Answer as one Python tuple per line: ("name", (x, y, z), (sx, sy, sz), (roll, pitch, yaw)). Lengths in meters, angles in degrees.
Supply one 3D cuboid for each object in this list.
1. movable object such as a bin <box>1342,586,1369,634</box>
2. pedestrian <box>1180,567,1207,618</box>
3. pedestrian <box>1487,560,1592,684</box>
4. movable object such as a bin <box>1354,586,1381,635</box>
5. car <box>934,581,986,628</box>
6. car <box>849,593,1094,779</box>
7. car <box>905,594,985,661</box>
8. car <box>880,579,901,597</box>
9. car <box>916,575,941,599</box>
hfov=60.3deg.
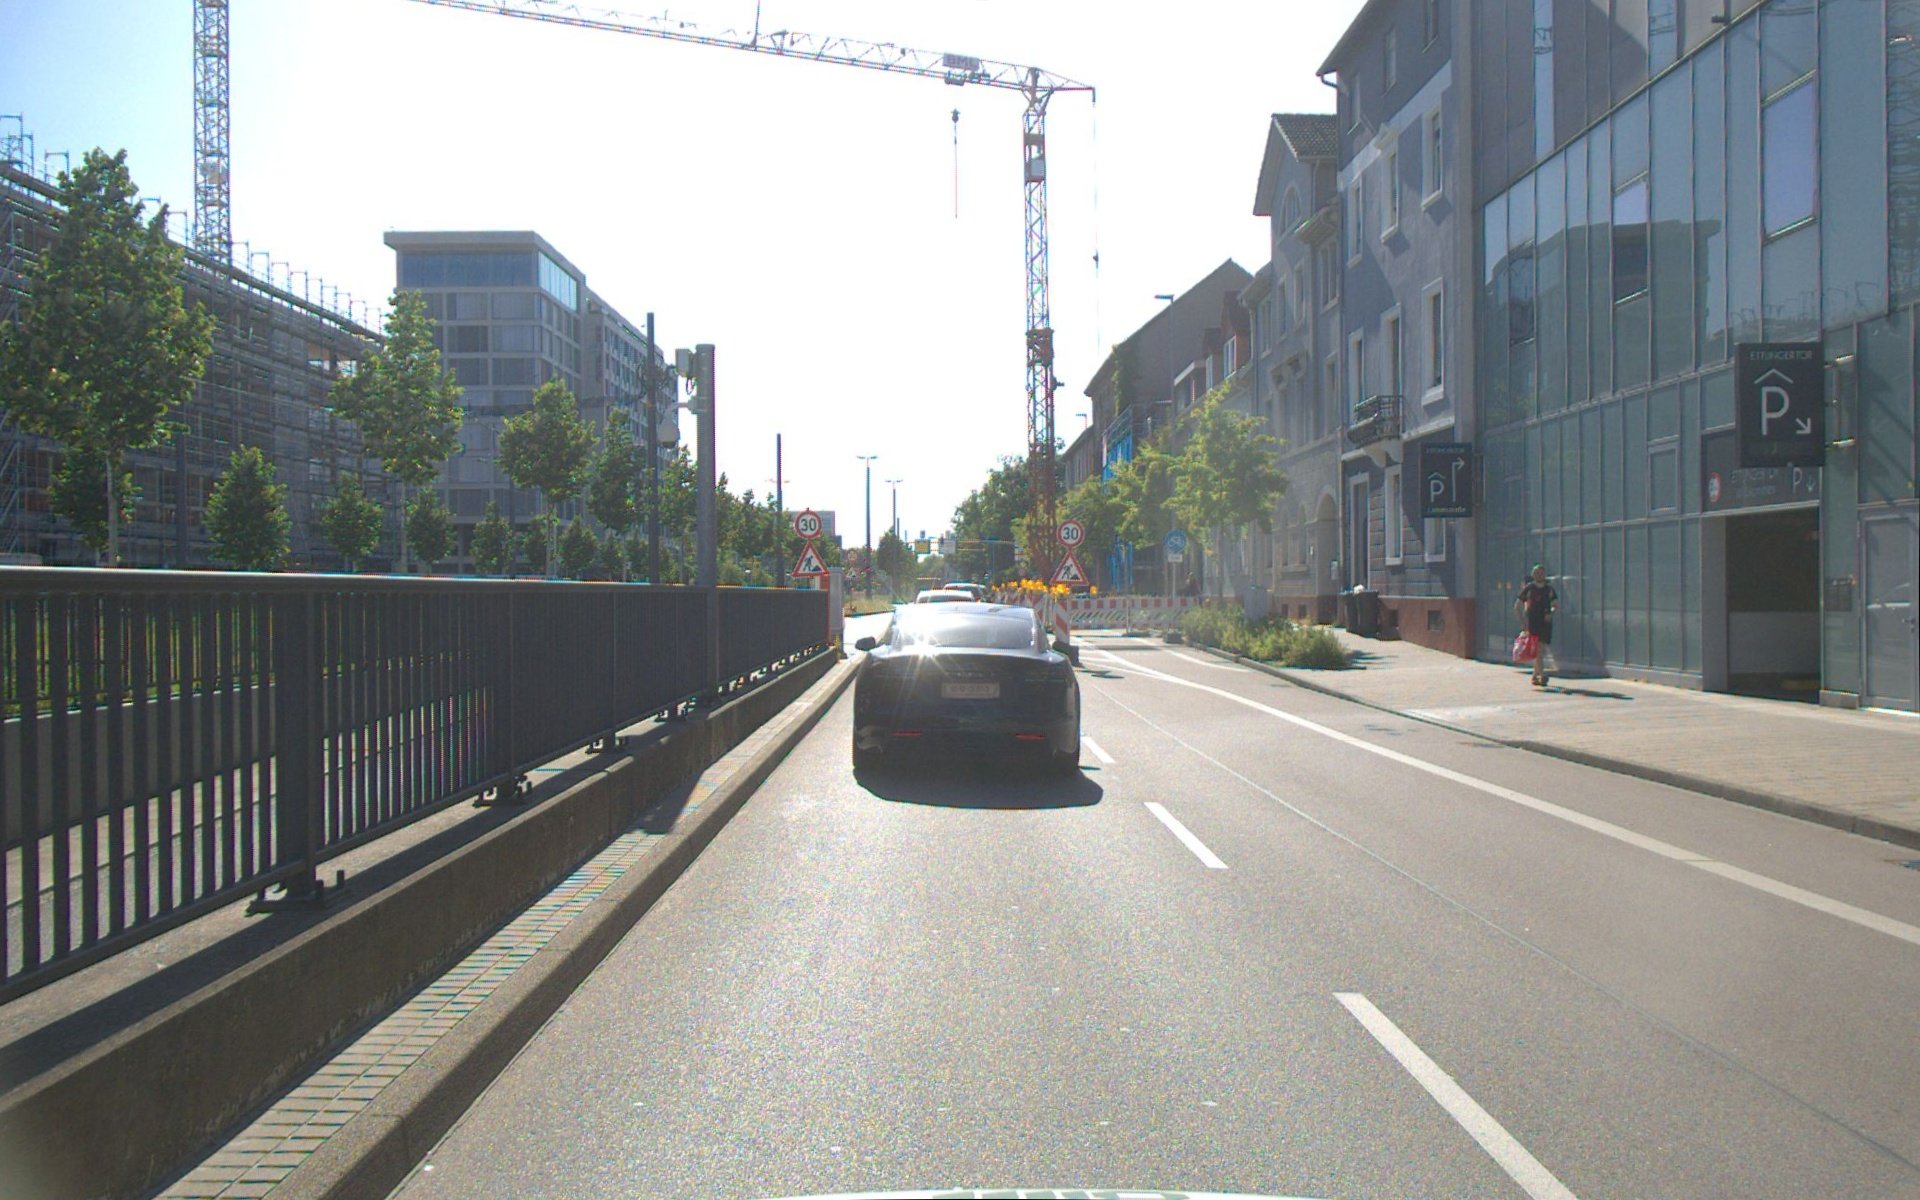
("movable object such as a bin", (10.061, 0.256, 42.089), (0.547, 1.189, 0.562), (1, 0, 3))
("pedestrian", (8.769, -0.274, 62.148), (0.834, 1.896, 0.929), (-1, 0, -2))
("pedestrian", (9.178, 0.330, 26.265), (1.073, 1.896, 1.522), (-1, 0, -2))
("movable object such as a bin", (10.147, 0.257, 41.241), (0.547, 1.189, 0.562), (1, 0, 3))
("car", (0.033, 0.117, 58.030), (1.748, 1.573, 4.039), (0, 1, 1))
("car", (0.030, 0.678, 15.436), (1.959, 1.459, 4.411), (0, 1, -2))
("car", (-0.290, 0.574, 36.823), (1.681, 1.343, 4.000), (0, 1, 0))
("car", (-6.939, -1.198, 165.157), (1.953, 1.713, 3.999), (1, 0, -2))
("car", (-2.415, -1.015, 128.973), (1.776, 1.841, 4.039), (0, 1, 1))
